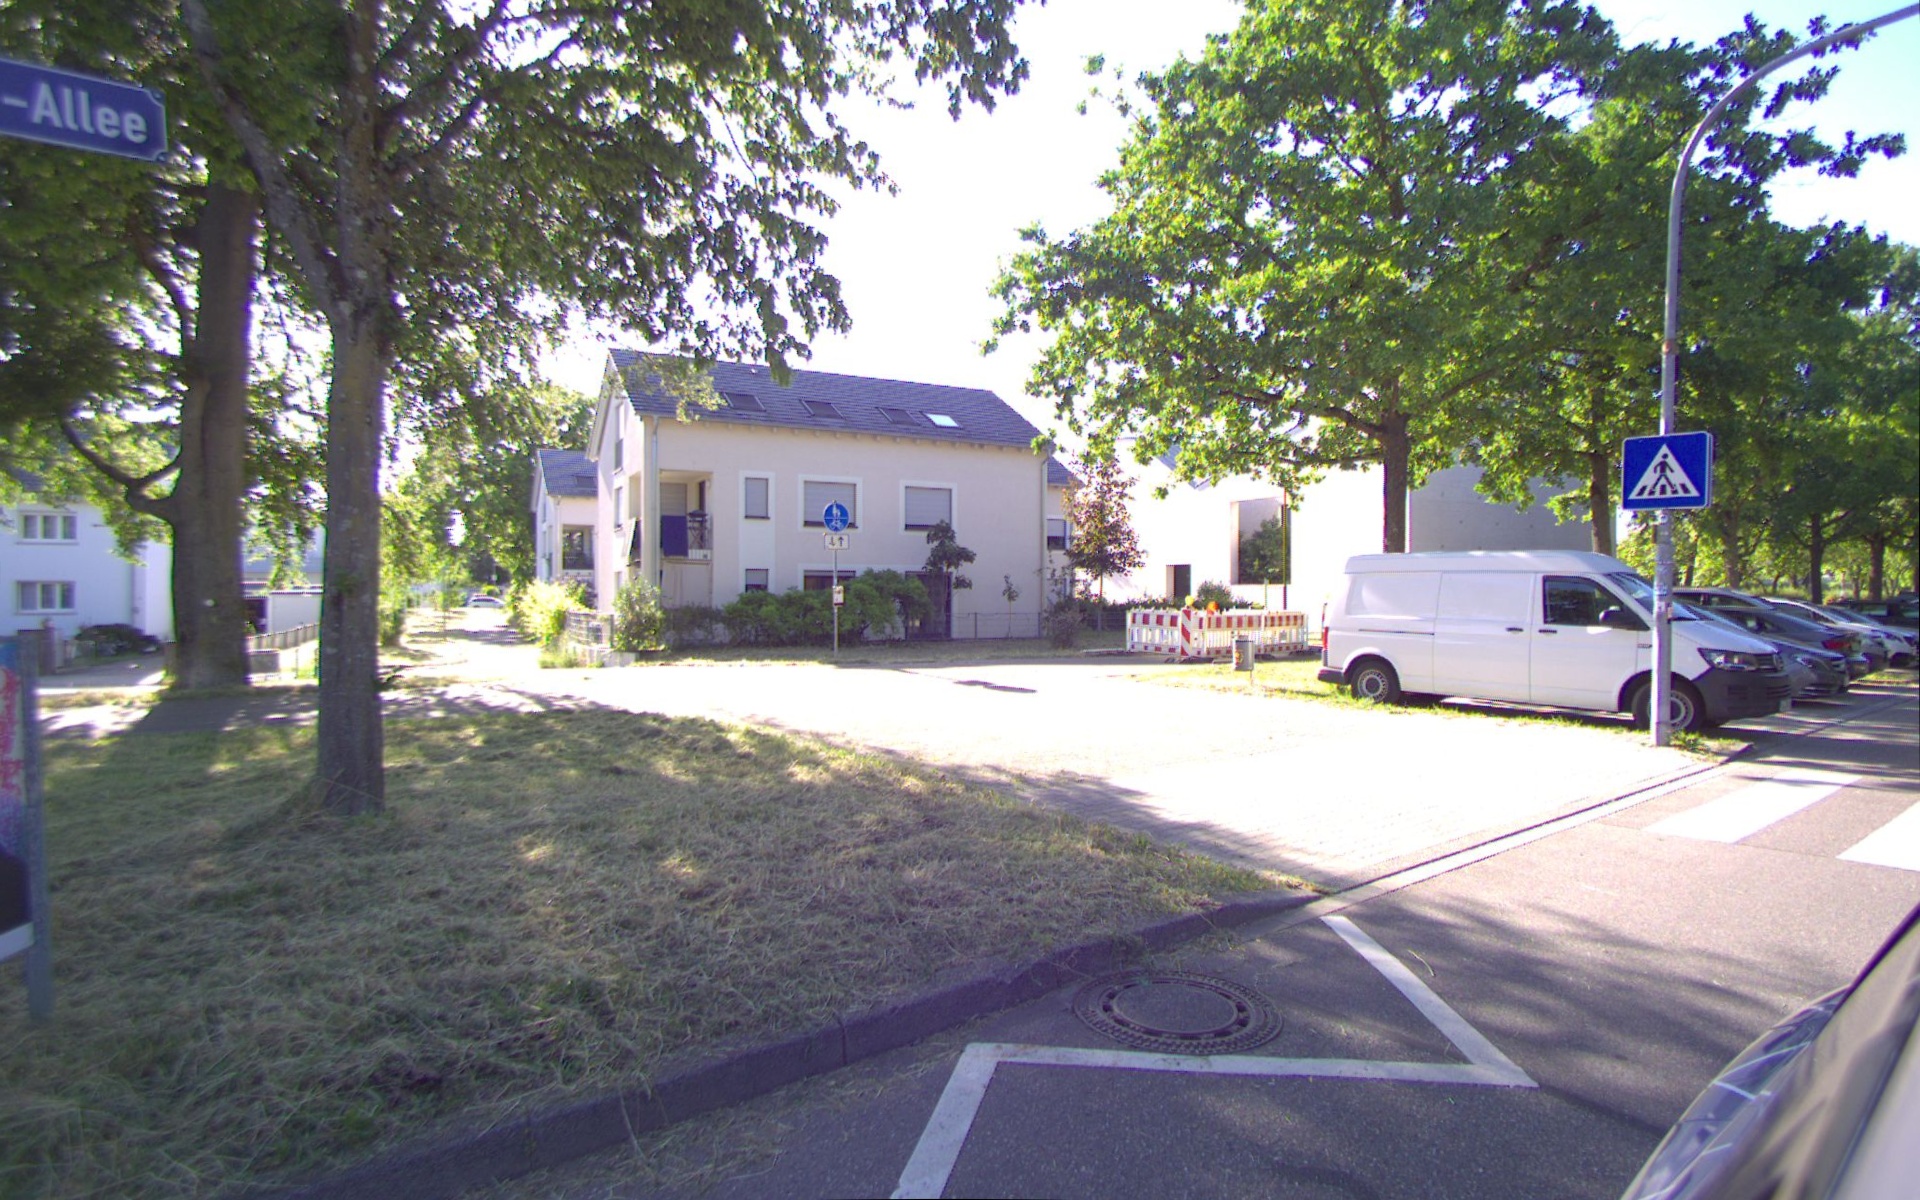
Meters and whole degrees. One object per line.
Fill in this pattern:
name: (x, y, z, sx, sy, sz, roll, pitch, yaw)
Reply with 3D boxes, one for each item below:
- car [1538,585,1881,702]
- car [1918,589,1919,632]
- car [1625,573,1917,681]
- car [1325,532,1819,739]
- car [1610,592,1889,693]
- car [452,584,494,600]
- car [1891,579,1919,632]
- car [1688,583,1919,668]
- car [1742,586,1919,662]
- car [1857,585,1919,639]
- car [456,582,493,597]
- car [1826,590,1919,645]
car: (11.574, 0.602, 15.876, 1.725, 1.583, 3.998, 0, 0, -36)
car: (41.073, 0.418, 40.056, 1.504, 1.765, 4.397, 0, 0, -36)
car: (15.198, 0.464, 19.170, 1.681, 1.816, 4.021, 0, 0, -36)
car: (7.432, 0.320, 12.850, 1.856, 2.107, 5.045, 0, 1, -38)
car: (13.419, 0.660, 17.378, 1.421, 1.561, 3.517, 0, 0, -36)
car: (-62.366, -1.024, 129.607, 4.542, 2.039, 1.996, 0, 0, -43)
car: (38.063, 0.201, 37.958, 1.504, 2.014, 4.397, 0, 0, -36)
car: (18.580, 0.522, 22.162, 1.504, 1.700, 4.021, 0, 0, -36)
car: (21.064, 0.539, 23.763, 1.504, 1.681, 4.021, 0, 0, -36)
car: (32.539, 0.383, 33.232, 1.504, 1.765, 4.397, 0, 0, -36)
car: (-67.368, -1.479, 140.434, 4.524, 2.039, 2.003, 0, 0, -23)
car: (30.065, 0.536, 31.559, 1.504, 1.662, 4.397, 0, 0, -36)
